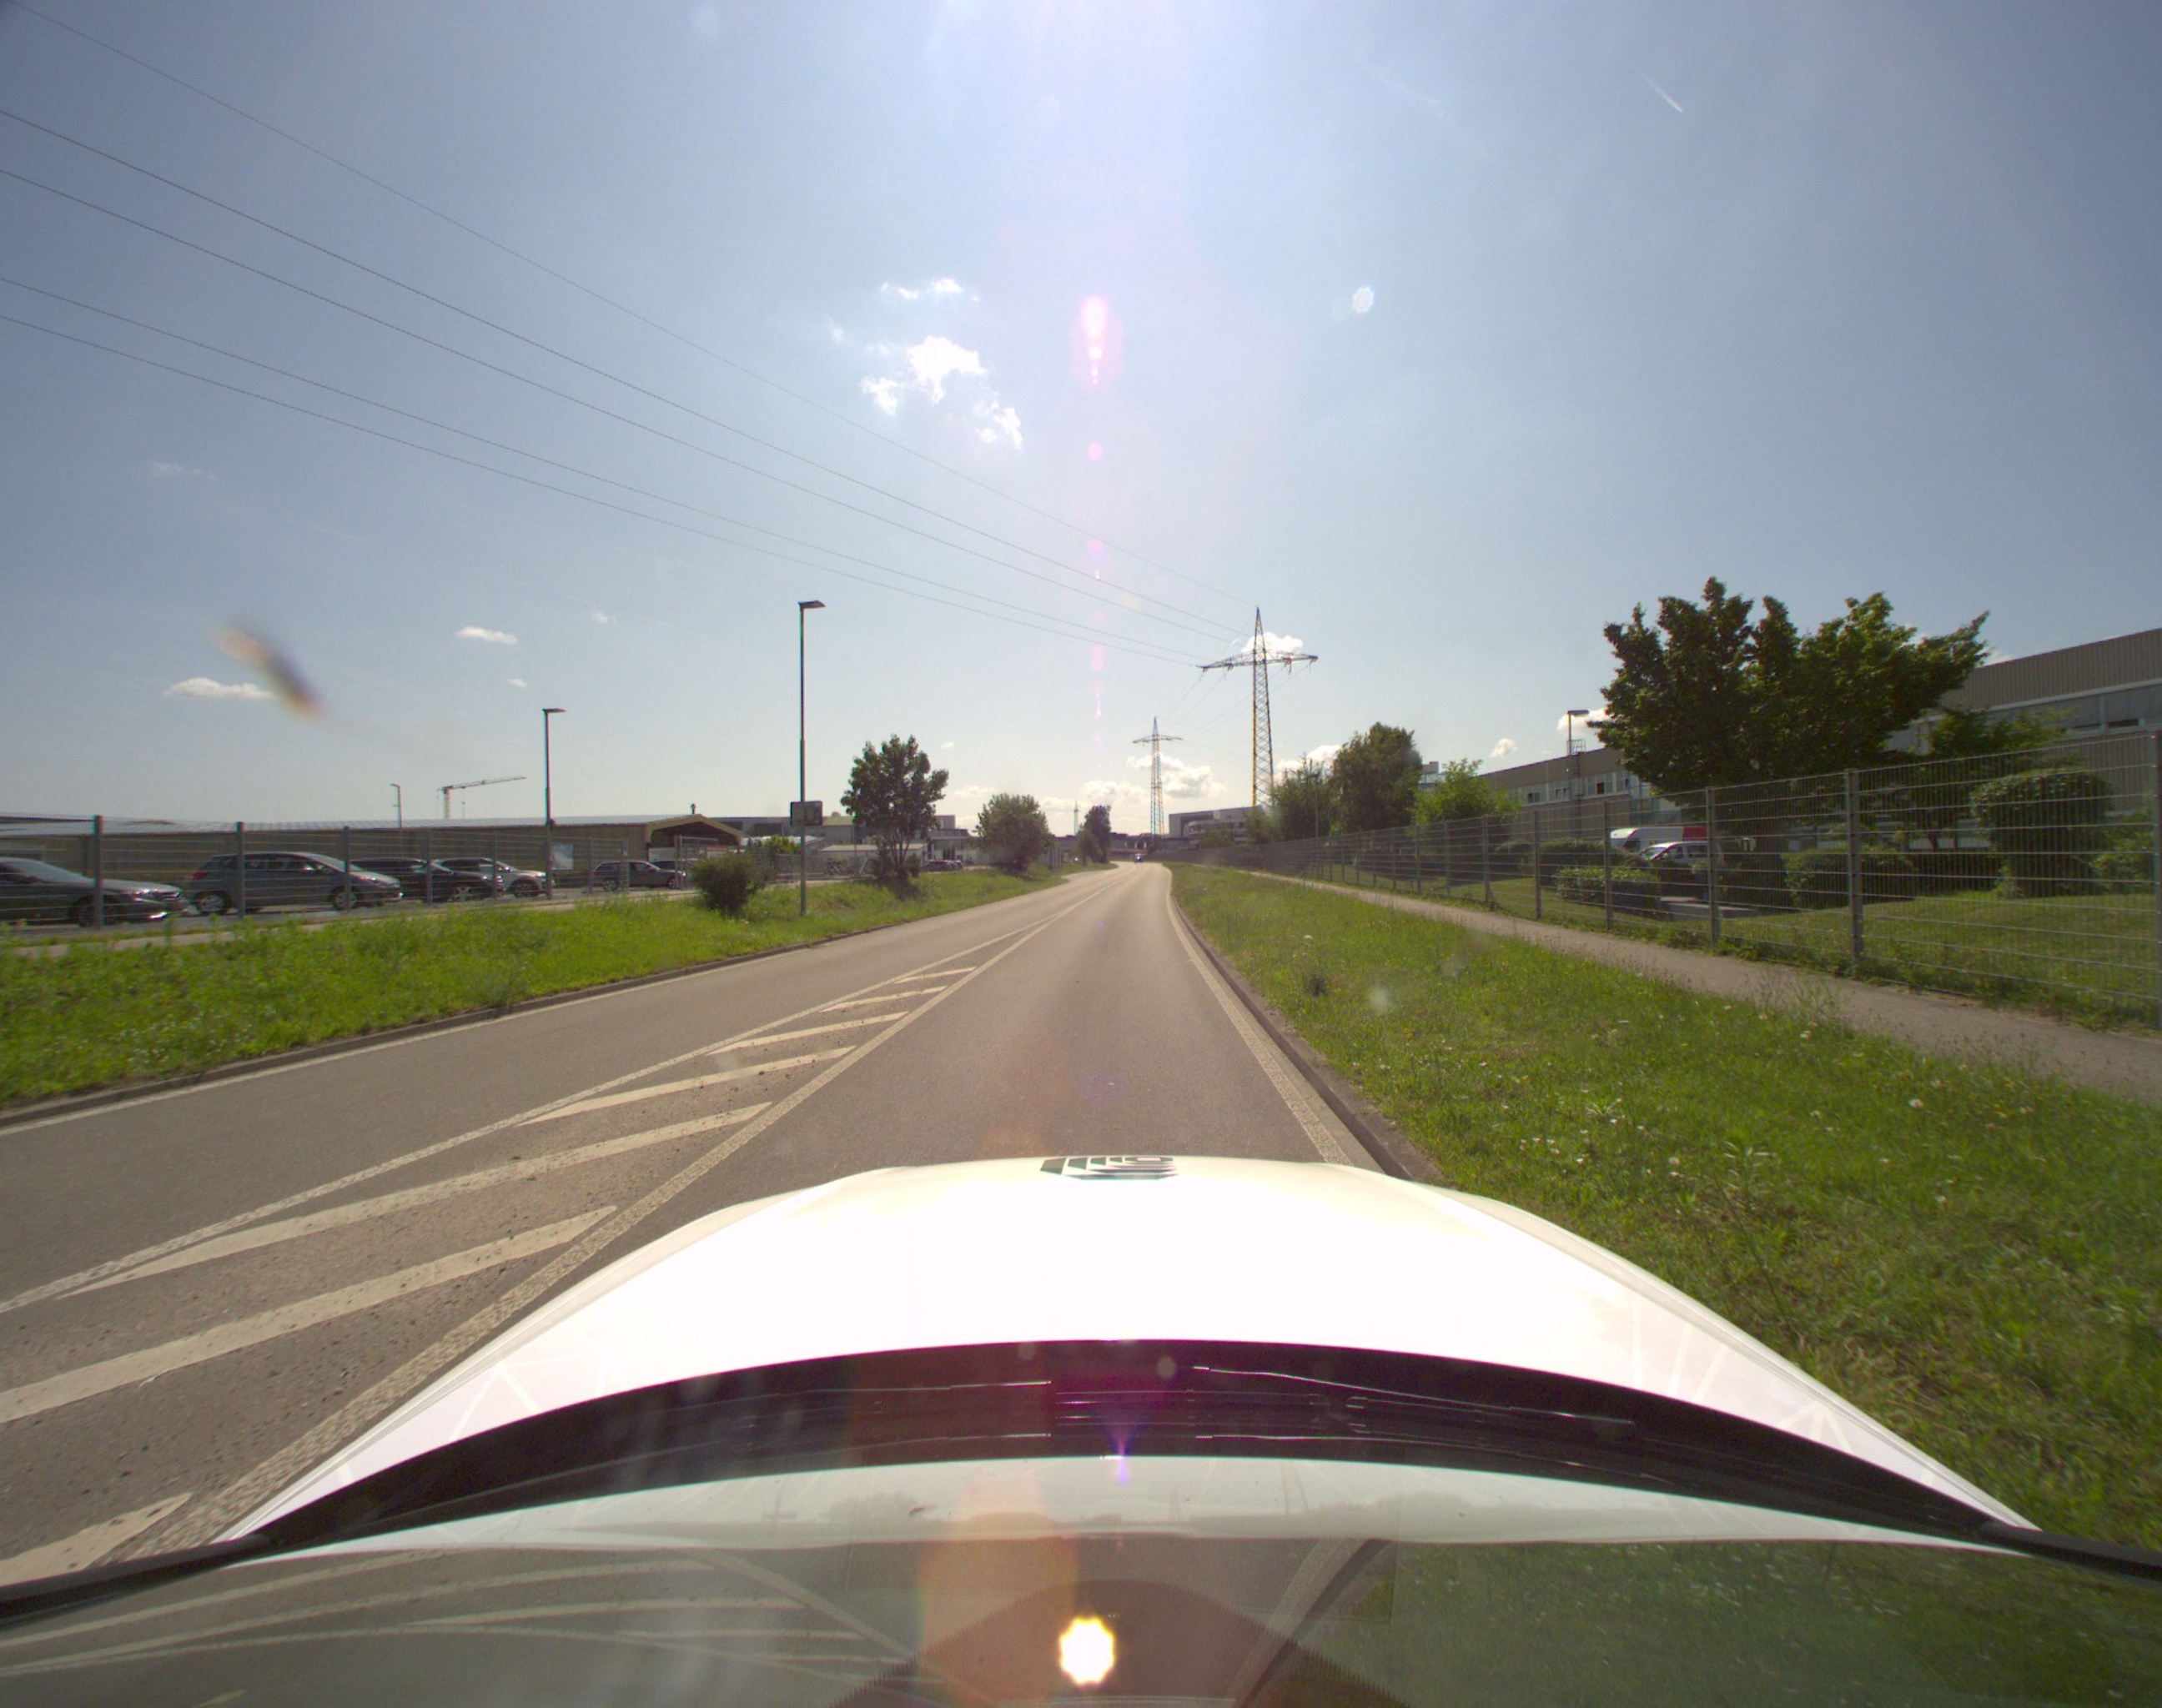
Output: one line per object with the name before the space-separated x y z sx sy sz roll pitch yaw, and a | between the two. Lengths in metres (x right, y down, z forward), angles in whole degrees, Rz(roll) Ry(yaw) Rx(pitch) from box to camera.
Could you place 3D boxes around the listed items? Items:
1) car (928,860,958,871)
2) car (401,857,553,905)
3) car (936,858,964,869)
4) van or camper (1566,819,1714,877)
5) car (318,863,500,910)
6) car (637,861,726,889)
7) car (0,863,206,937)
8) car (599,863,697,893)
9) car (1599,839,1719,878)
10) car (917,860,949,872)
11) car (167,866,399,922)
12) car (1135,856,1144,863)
car | -19.927 1.691 117.442 3.975 1.555 1.665 -1 0 -1
car | -21.062 0.907 28.618 4.010 1.540 1.925 -1 0 -28
car | -19.959 1.483 124.010 3.975 1.640 1.999 -1 0 -1
van or camper | 26.588 -0.265 38.837 5.755 2.518 1.999 2 -1 -2
car | -20.687 0.961 25.315 4.008 1.310 1.926 -1 0 -26
car | -20.473 1.064 41.774 4.010 1.310 1.925 -1 0 -28
car | -20.163 0.865 15.732 4.010 1.310 1.925 -1 0 -28
car | -20.594 1.104 38.870 4.010 1.310 1.925 -1 0 -28
car | 25.717 0.193 36.332 3.975 1.640 1.999 -1 0 -1
car | -20.539 1.631 113.016 3.975 1.528 1.999 -1 0 -1
car | -21.009 1.005 21.700 4.010 1.310 1.925 -1 0 -28
car | 13.927 1.350 193.955 2.004 1.508 4.002 -1 0 2
